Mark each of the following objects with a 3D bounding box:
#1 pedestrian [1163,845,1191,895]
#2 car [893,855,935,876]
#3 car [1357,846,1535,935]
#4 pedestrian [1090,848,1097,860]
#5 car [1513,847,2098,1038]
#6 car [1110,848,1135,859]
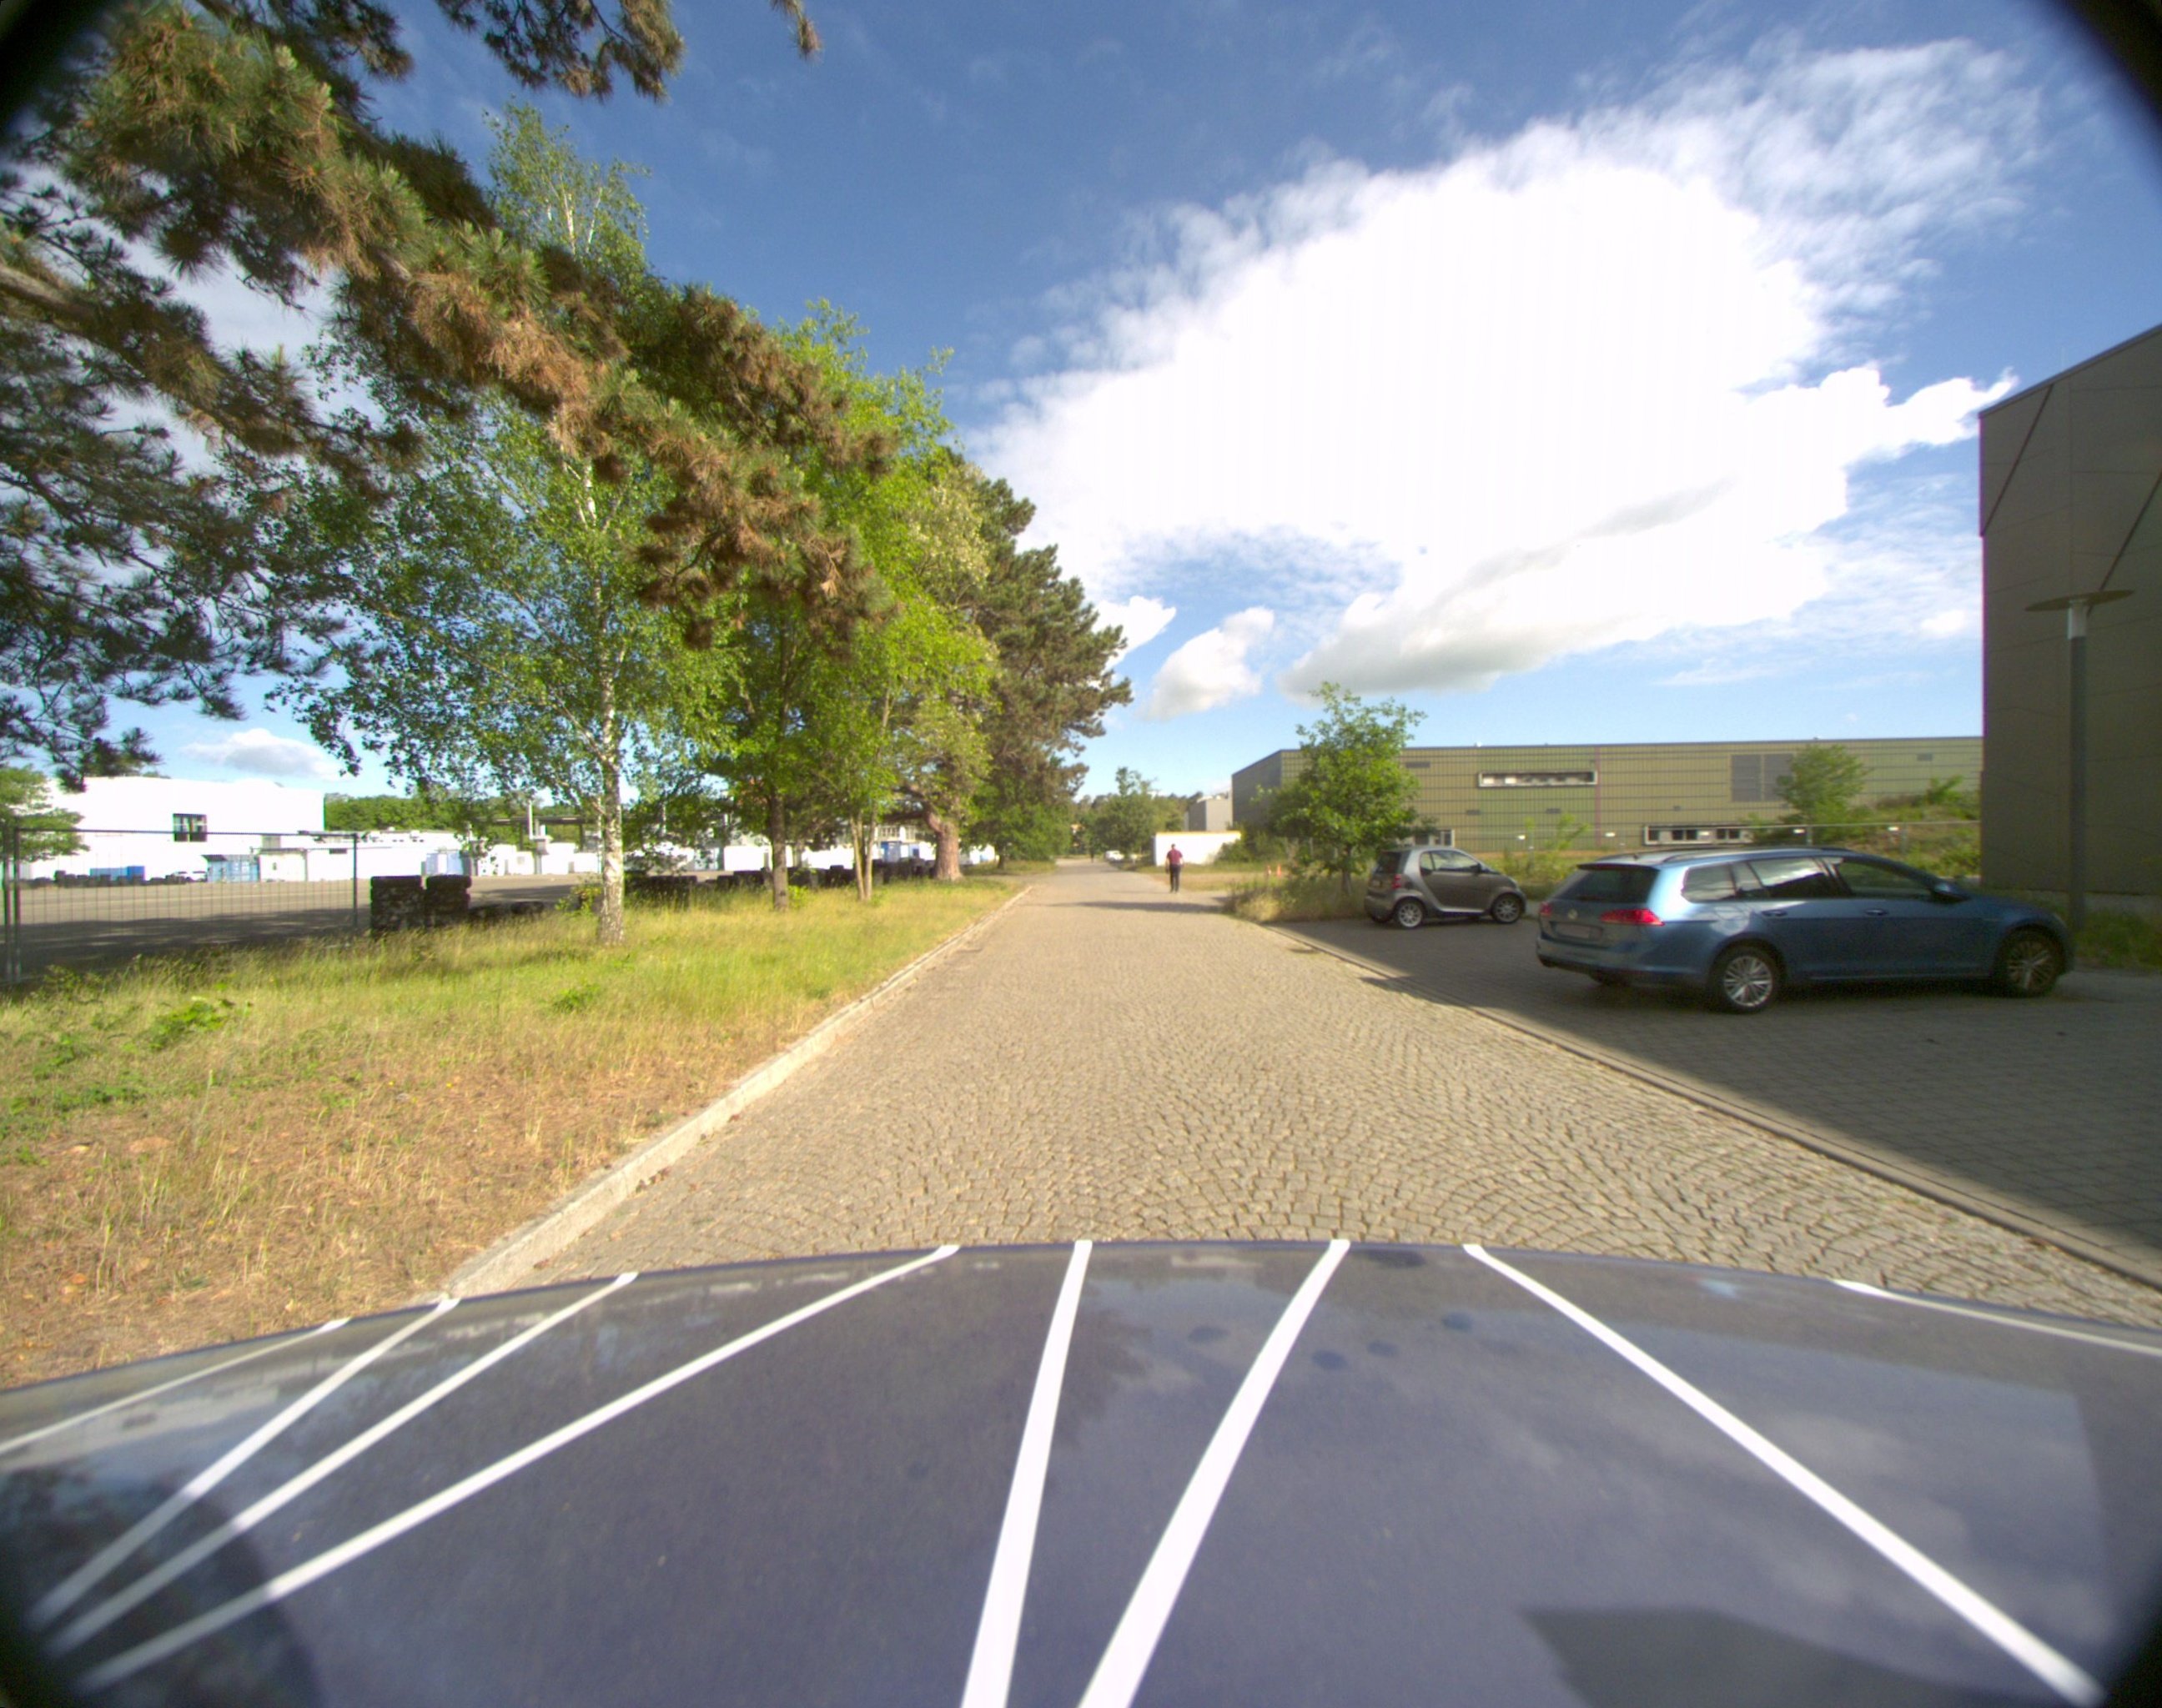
[{"bbox_3d":[3.477,0.564,27.611,0.806,1.761,1.152,-1,1,-4],"label":"pedestrian"},{"bbox_3d":[-12.342,0.821,56.482,1.846,1.440,4.001,-1,1,6],"label":"car"},{"bbox_3d":[7.066,0.672,14.895,2.706,1.533,1.518,-3,1,-1],"label":"car"},{"bbox_3d":[1.944,-0.066,115.992,0.908,1.797,0.983,-1,1,-7],"label":"pedestrian"},{"bbox_3d":[6.905,0.769,7.538,4.268,1.455,1.680,-3,1,-2],"label":"car"},{"bbox_3d":[6.619,-0.160,122.217,3.996,1.678,2.000,-1,1,3],"label":"car"}]
